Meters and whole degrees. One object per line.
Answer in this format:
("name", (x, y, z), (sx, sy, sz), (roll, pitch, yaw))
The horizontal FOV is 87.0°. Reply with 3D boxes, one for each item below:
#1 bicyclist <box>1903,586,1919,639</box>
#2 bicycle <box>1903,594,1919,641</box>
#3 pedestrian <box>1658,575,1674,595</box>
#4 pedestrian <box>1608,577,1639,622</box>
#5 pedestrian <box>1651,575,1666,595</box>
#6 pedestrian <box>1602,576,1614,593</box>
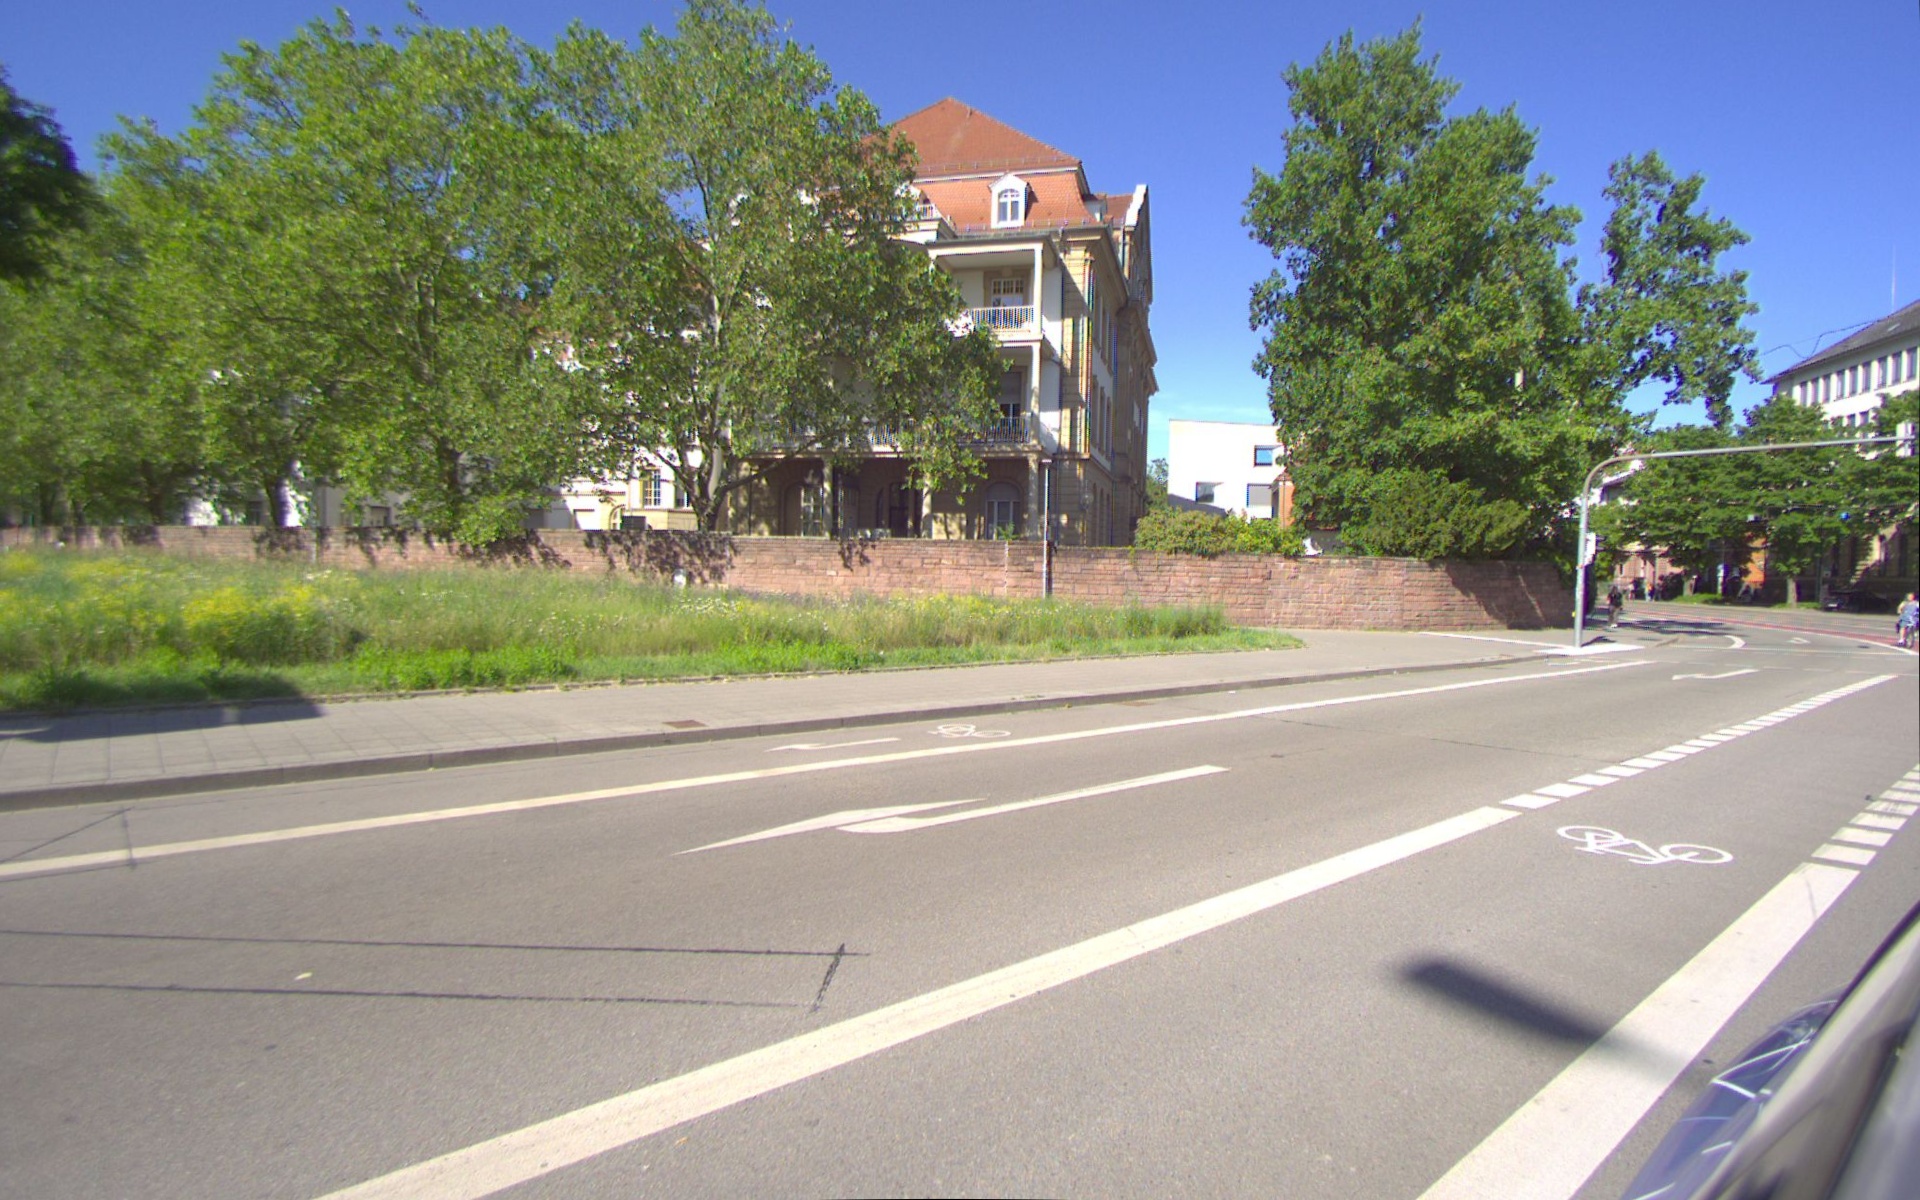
("bicyclist", (29.660, 0.382, 31.123), (0.866, 1.579, 1.261), (2, 2, 41))
("bicycle", (29.611, 0.533, 31.080), (0.759, 1.385, 2.698), (2, 2, 40))
("pedestrian", (66.918, -1.372, 95.943), (0.742, 1.836, 0.981), (4, -3, -31))
("pedestrian", (26.267, -0.037, 40.042), (0.935, 1.742, 0.983), (2, 2, 37))
("pedestrian", (65.278, -1.382, 94.529), (0.745, 1.835, 0.978), (1, 1, 9))
("pedestrian", (69.785, -1.697, 109.025), (0.745, 1.835, 0.978), (1, 1, 10))
